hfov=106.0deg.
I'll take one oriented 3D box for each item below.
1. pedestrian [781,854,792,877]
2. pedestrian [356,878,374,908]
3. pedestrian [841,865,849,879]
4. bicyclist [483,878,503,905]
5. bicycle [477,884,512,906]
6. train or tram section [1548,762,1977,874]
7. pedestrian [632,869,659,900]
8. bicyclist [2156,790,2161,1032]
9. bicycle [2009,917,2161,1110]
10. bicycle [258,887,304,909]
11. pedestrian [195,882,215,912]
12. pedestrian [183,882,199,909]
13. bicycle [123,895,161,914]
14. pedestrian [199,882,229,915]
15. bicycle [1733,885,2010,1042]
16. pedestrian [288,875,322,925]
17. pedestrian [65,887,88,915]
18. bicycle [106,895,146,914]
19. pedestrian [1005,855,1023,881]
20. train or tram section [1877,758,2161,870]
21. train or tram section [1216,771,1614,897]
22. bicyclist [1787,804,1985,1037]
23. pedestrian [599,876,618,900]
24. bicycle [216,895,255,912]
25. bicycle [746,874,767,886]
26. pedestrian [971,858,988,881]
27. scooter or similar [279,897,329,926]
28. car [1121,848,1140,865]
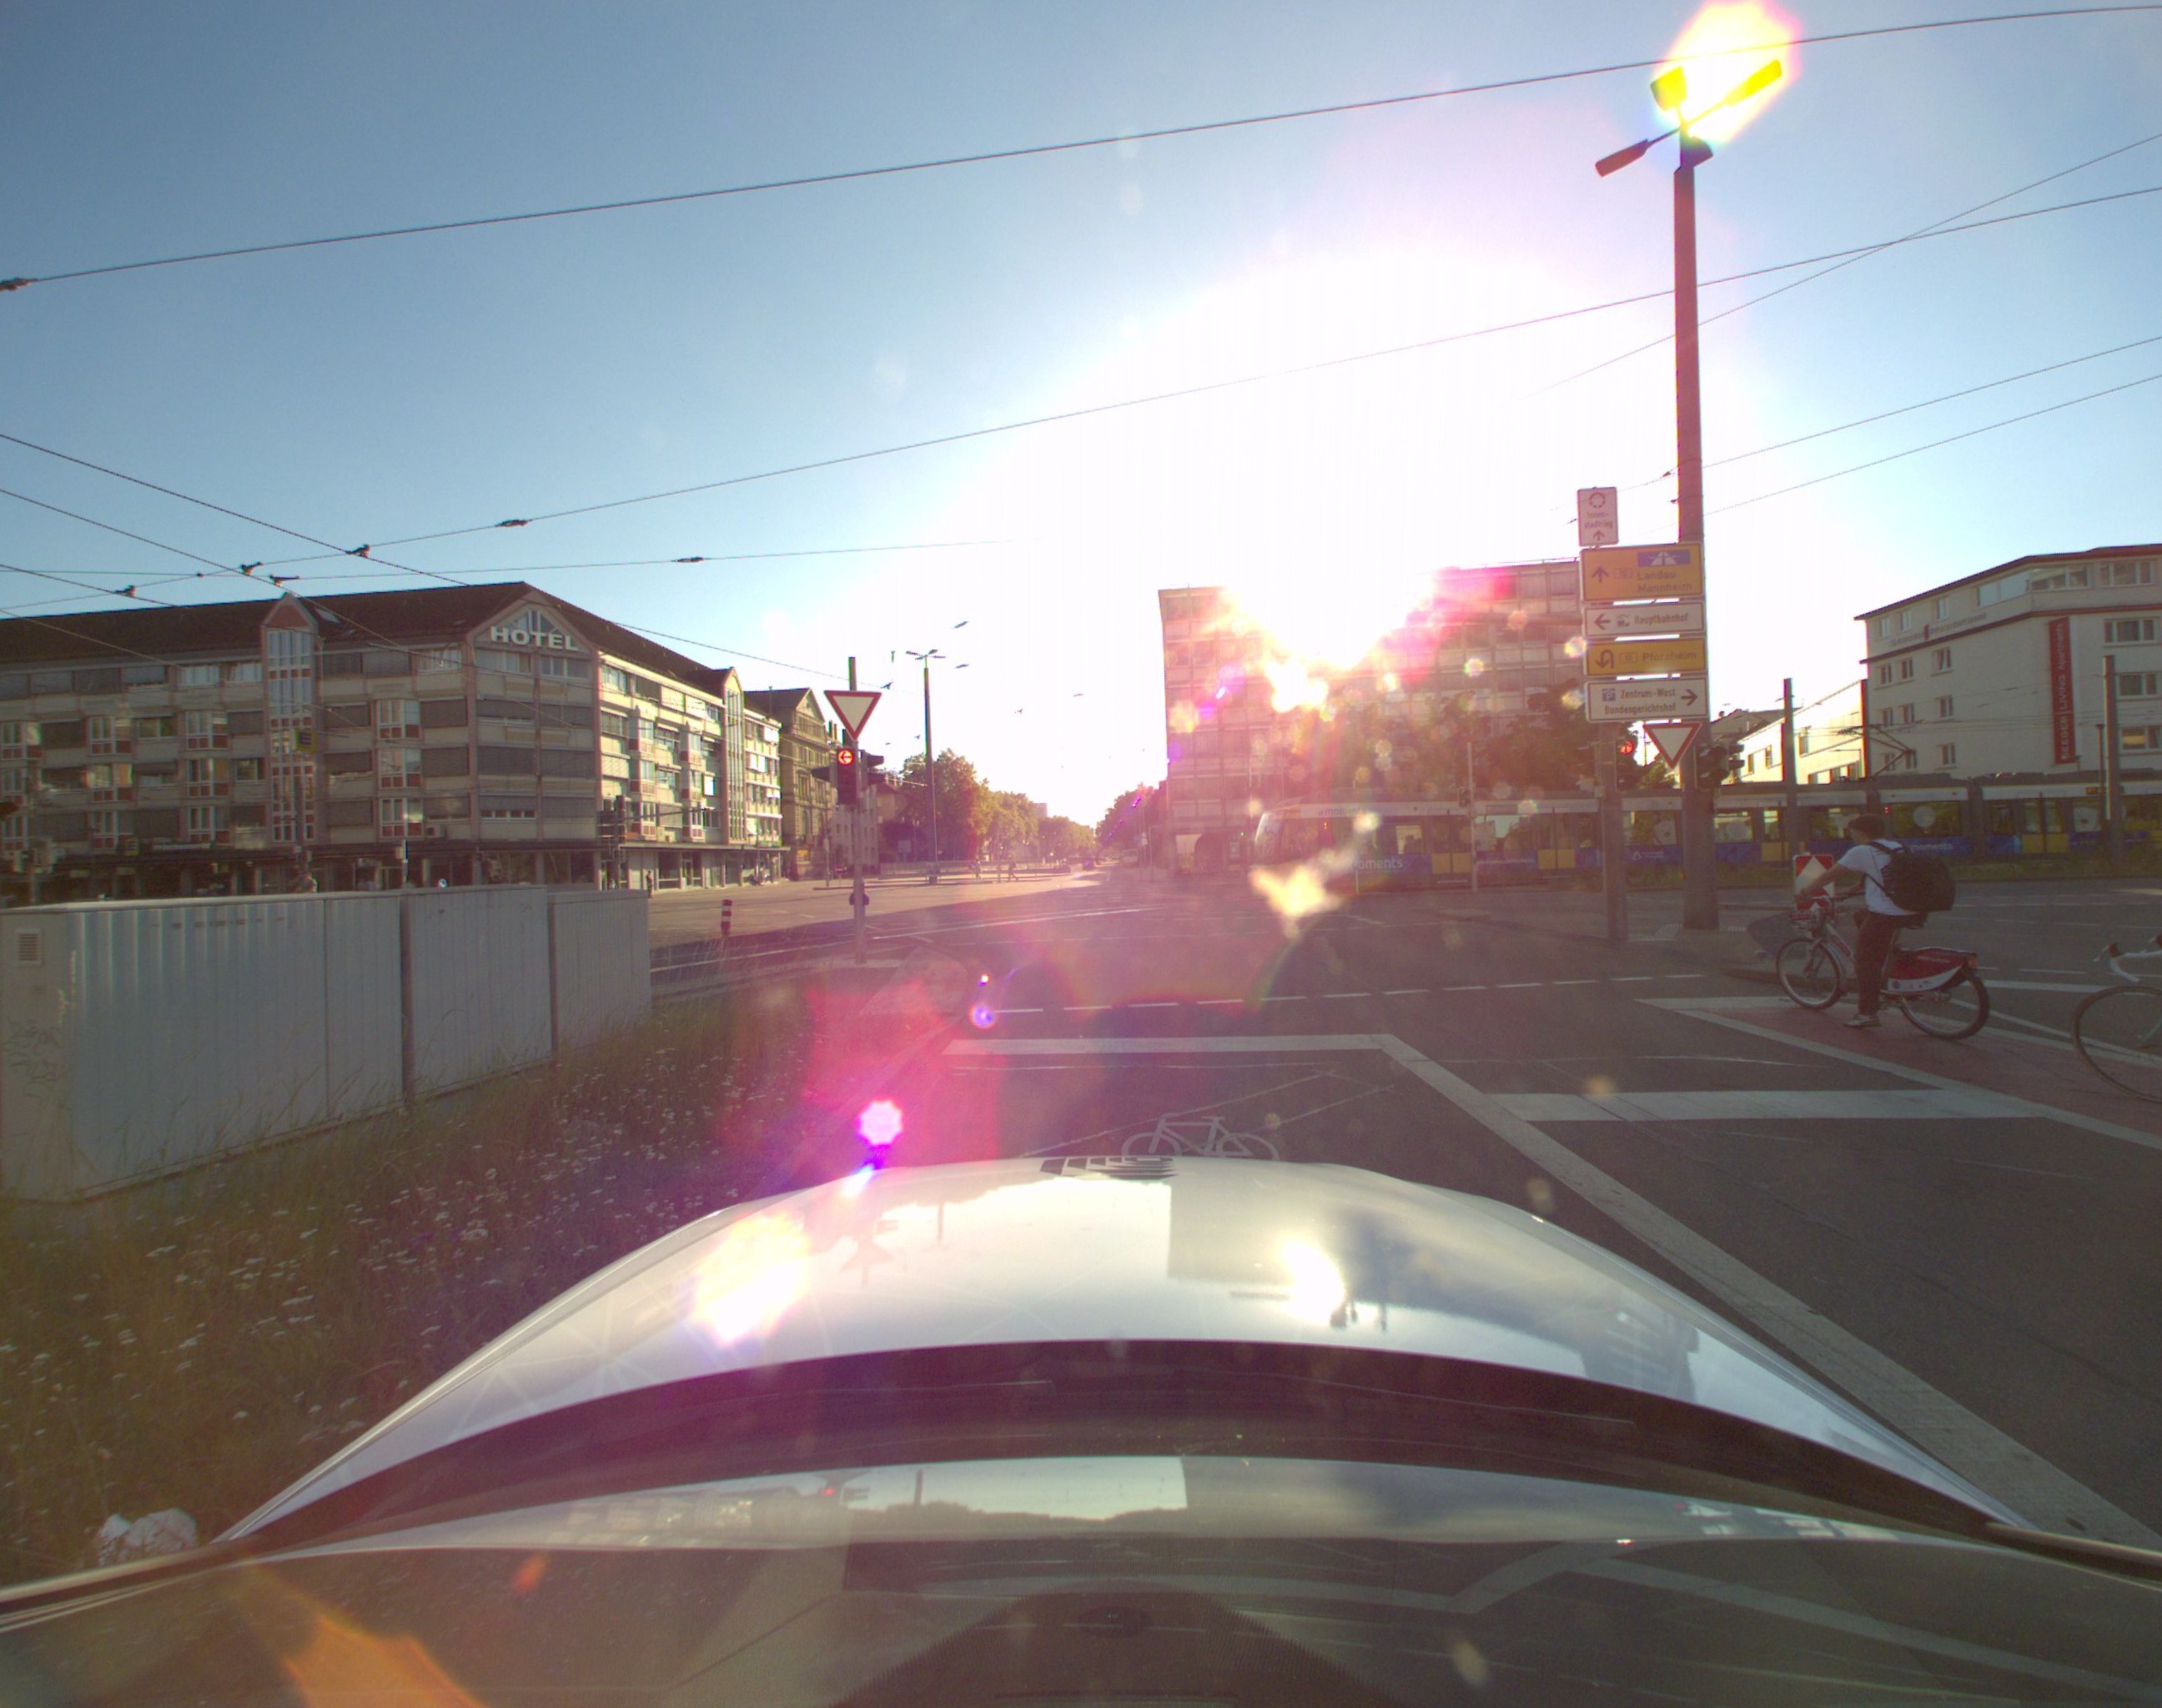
[{"bbox_3d":[-31.268,1.186,86.532,0.926,2.398,0.958,0,-1,-9],"label":"pedestrian"},{"bbox_3d":[-42.486,2.300,48.316,0.625,1.694,0.859,0,-1,-30],"label":"pedestrian"},{"bbox_3d":[-27.772,2.102,95.715,0.693,1.695,0.724,0,-1,1],"label":"pedestrian"},{"bbox_3d":[-34.861,2.217,48.271,0.636,1.596,0.659,0,2,5],"label":"bicyclist"},{"bbox_3d":[-34.847,2.438,48.420,0.635,1.145,1.773,0,2,6],"label":"bicycle"},{"bbox_3d":[24.857,-1.254,30.278,12.895,3.834,3.715,0,-1,0],"label":"train or tram section"},{"bbox_3d":[-28.406,1.955,53.150,1.191,1.882,0.856,0,8,-3],"label":"pedestrian"},{"bbox_3d":[6.171,0.524,4.038,0.612,1.746,0.791,0,-1,-3],"label":"bicyclist"},{"bbox_3d":[6.194,0.899,4.330,0.540,1.001,1.692,0,-1,-3],"label":"bicycle"},{"bbox_3d":[-49.454,2.707,50.348,2.312,1.227,0.731,-2,-1,7],"label":"bicycle"},{"bbox_3d":[-56.203,2.744,52.257,0.598,1.852,0.613,-1,-1,12],"label":"pedestrian"},{"bbox_3d":[-56.631,2.627,51.823,0.614,1.635,0.596,-2,-4,-42],"label":"pedestrian"},{"bbox_3d":[-60.175,3.242,52.229,0.481,1.119,1.650,0,-1,2],"label":"bicycle"},{"bbox_3d":[-44.781,2.269,42.057,0.680,1.660,0.780,0,-1,-4],"label":"pedestrian"},{"bbox_3d":[6.575,0.842,6.930,0.540,1.101,1.807,0,-1,-3],"label":"bicycle"},{"bbox_3d":[-29.233,1.722,30.685,0.557,1.847,0.725,-1,-1,8],"label":"pedestrian"},{"bbox_3d":[-64.704,3.028,52.454,0.671,1.778,0.825,-1,-1,32],"label":"pedestrian"},{"bbox_3d":[-61.560,3.254,52.527,0.562,1.119,1.650,0,-1,2],"label":"bicycle"},{"bbox_3d":[-4.484,0.916,54.431,1.191,1.731,0.855,0,-1,-3],"label":"pedestrian"},{"bbox_3d":[37.652,-1.390,29.819,12.879,3.834,3.719,0,-1,4],"label":"train or tram section"},{"bbox_3d":[11.741,-0.767,28.699,13.336,3.833,3.697,-2,-1,-14],"label":"train or tram section"},{"bbox_3d":[6.595,0.507,6.734,0.540,1.768,1.059,0,-1,-3],"label":"bicyclist"},{"bbox_3d":[-29.663,2.146,51.085,0.703,1.453,0.855,0,-1,-3],"label":"pedestrian"},{"bbox_3d":[-52.453,3.070,50.522,2.060,0.917,0.502,-2,-1,7],"label":"bicycle"},{"bbox_3d":[-29.646,2.368,74.411,0.447,1.071,2.102,-1,-1,19],"label":"bicycle"},{"bbox_3d":[-6.552,1.003,52.556,0.858,1.465,0.680,0,-6,-27],"label":"pedestrian"},{"bbox_3d":[-29.253,2.139,30.671,0.483,1.006,1.333,-1,-1,9],"label":"scooter or similar"},{"bbox_3d":[6.322,0.307,103.970,2.275,2.172,4.838,0,-1,4],"label":"car"}]
